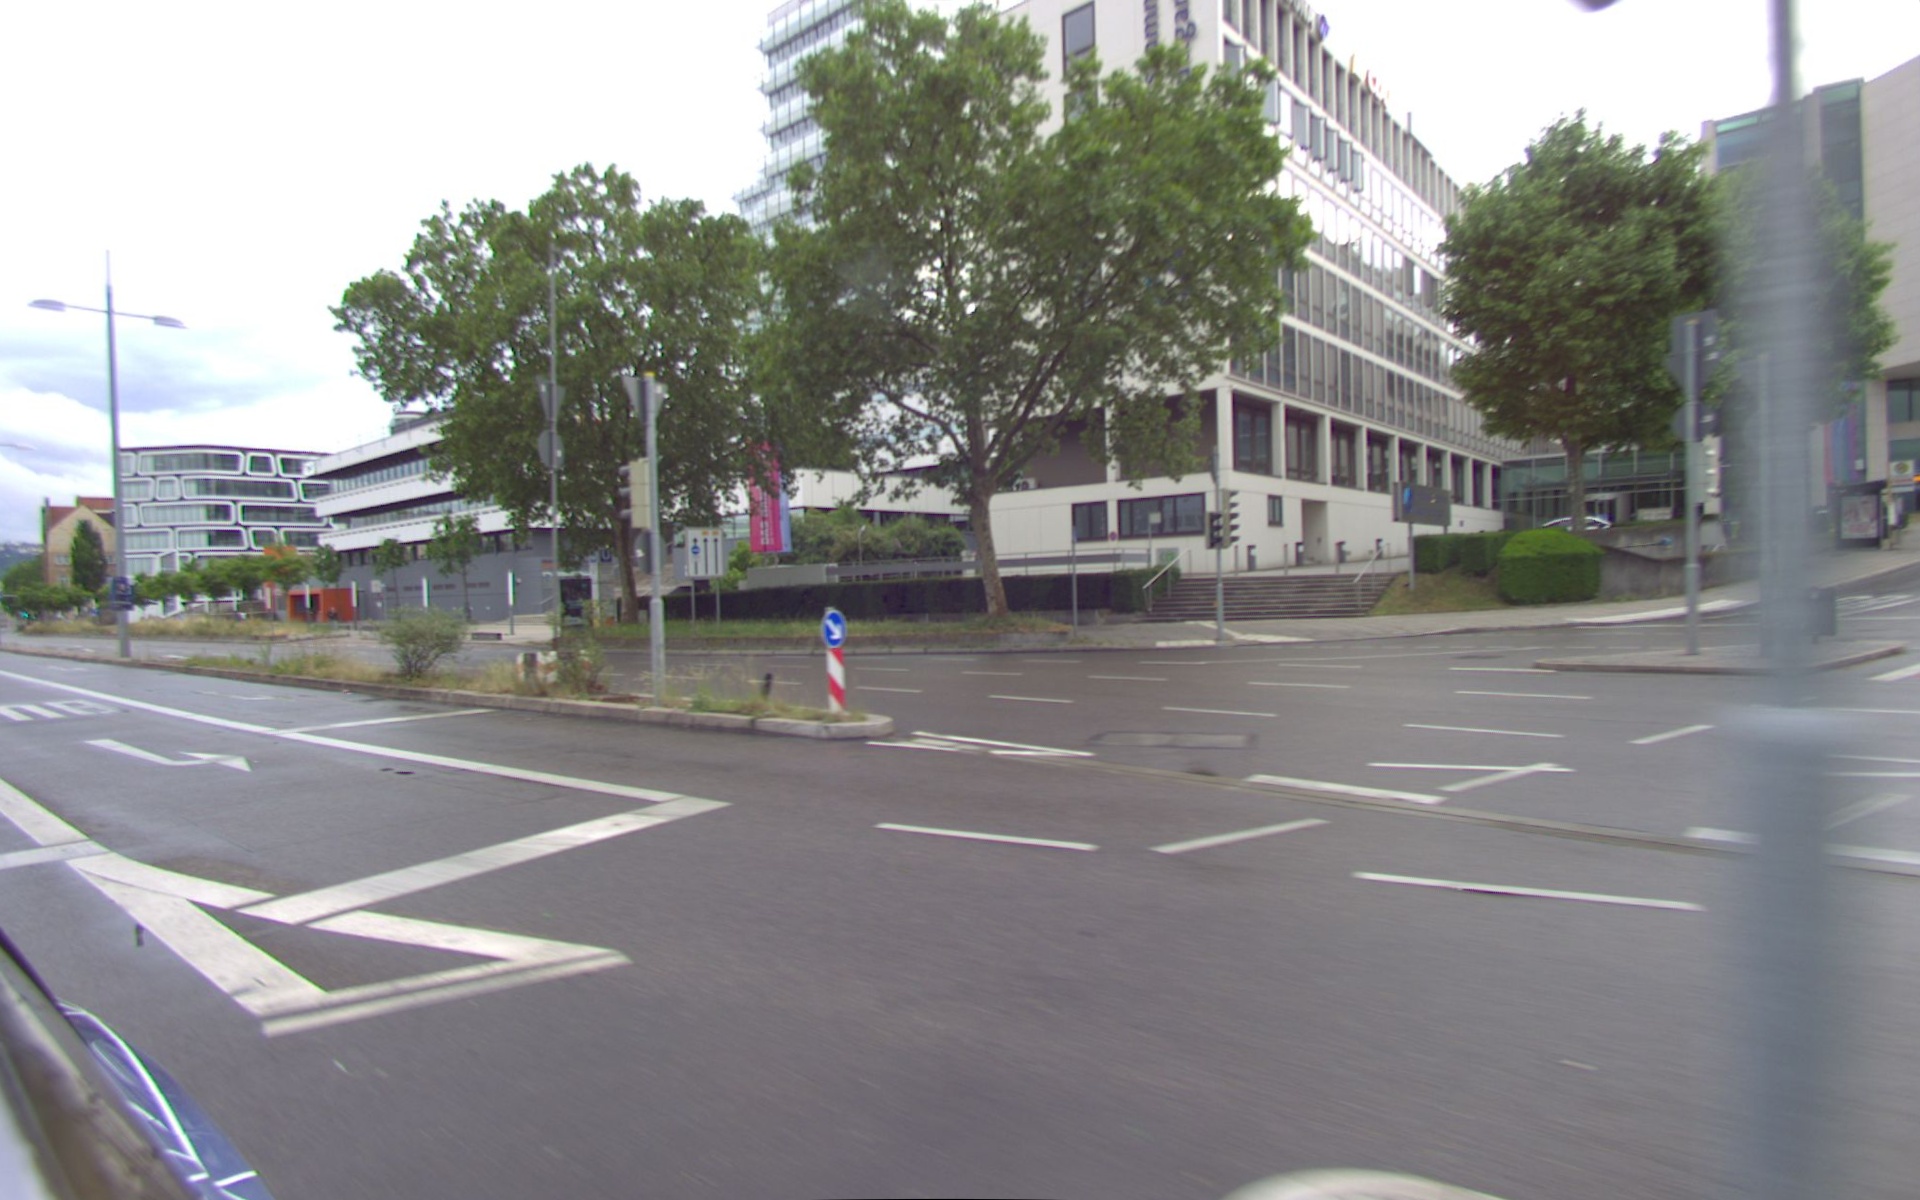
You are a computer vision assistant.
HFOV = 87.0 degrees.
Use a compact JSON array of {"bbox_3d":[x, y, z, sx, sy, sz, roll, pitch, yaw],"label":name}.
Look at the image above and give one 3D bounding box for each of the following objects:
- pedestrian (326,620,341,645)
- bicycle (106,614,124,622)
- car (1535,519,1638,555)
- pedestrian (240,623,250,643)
[{"bbox_3d":[-46.255,2.364,74.689,0.628,1.821,0.776,-1,0,41],"label":"pedestrian"},{"bbox_3d":[-93.932,1.969,112.520,1.638,0.864,0.608,-1,0,8],"label":"bicycle"},{"bbox_3d":[28.835,-2.873,46.644,3.879,1.420,1.510,0,1,41],"label":"car"},{"bbox_3d":[-67.472,3.093,95.479,0.628,1.821,0.623,-1,0,42],"label":"pedestrian"}]
